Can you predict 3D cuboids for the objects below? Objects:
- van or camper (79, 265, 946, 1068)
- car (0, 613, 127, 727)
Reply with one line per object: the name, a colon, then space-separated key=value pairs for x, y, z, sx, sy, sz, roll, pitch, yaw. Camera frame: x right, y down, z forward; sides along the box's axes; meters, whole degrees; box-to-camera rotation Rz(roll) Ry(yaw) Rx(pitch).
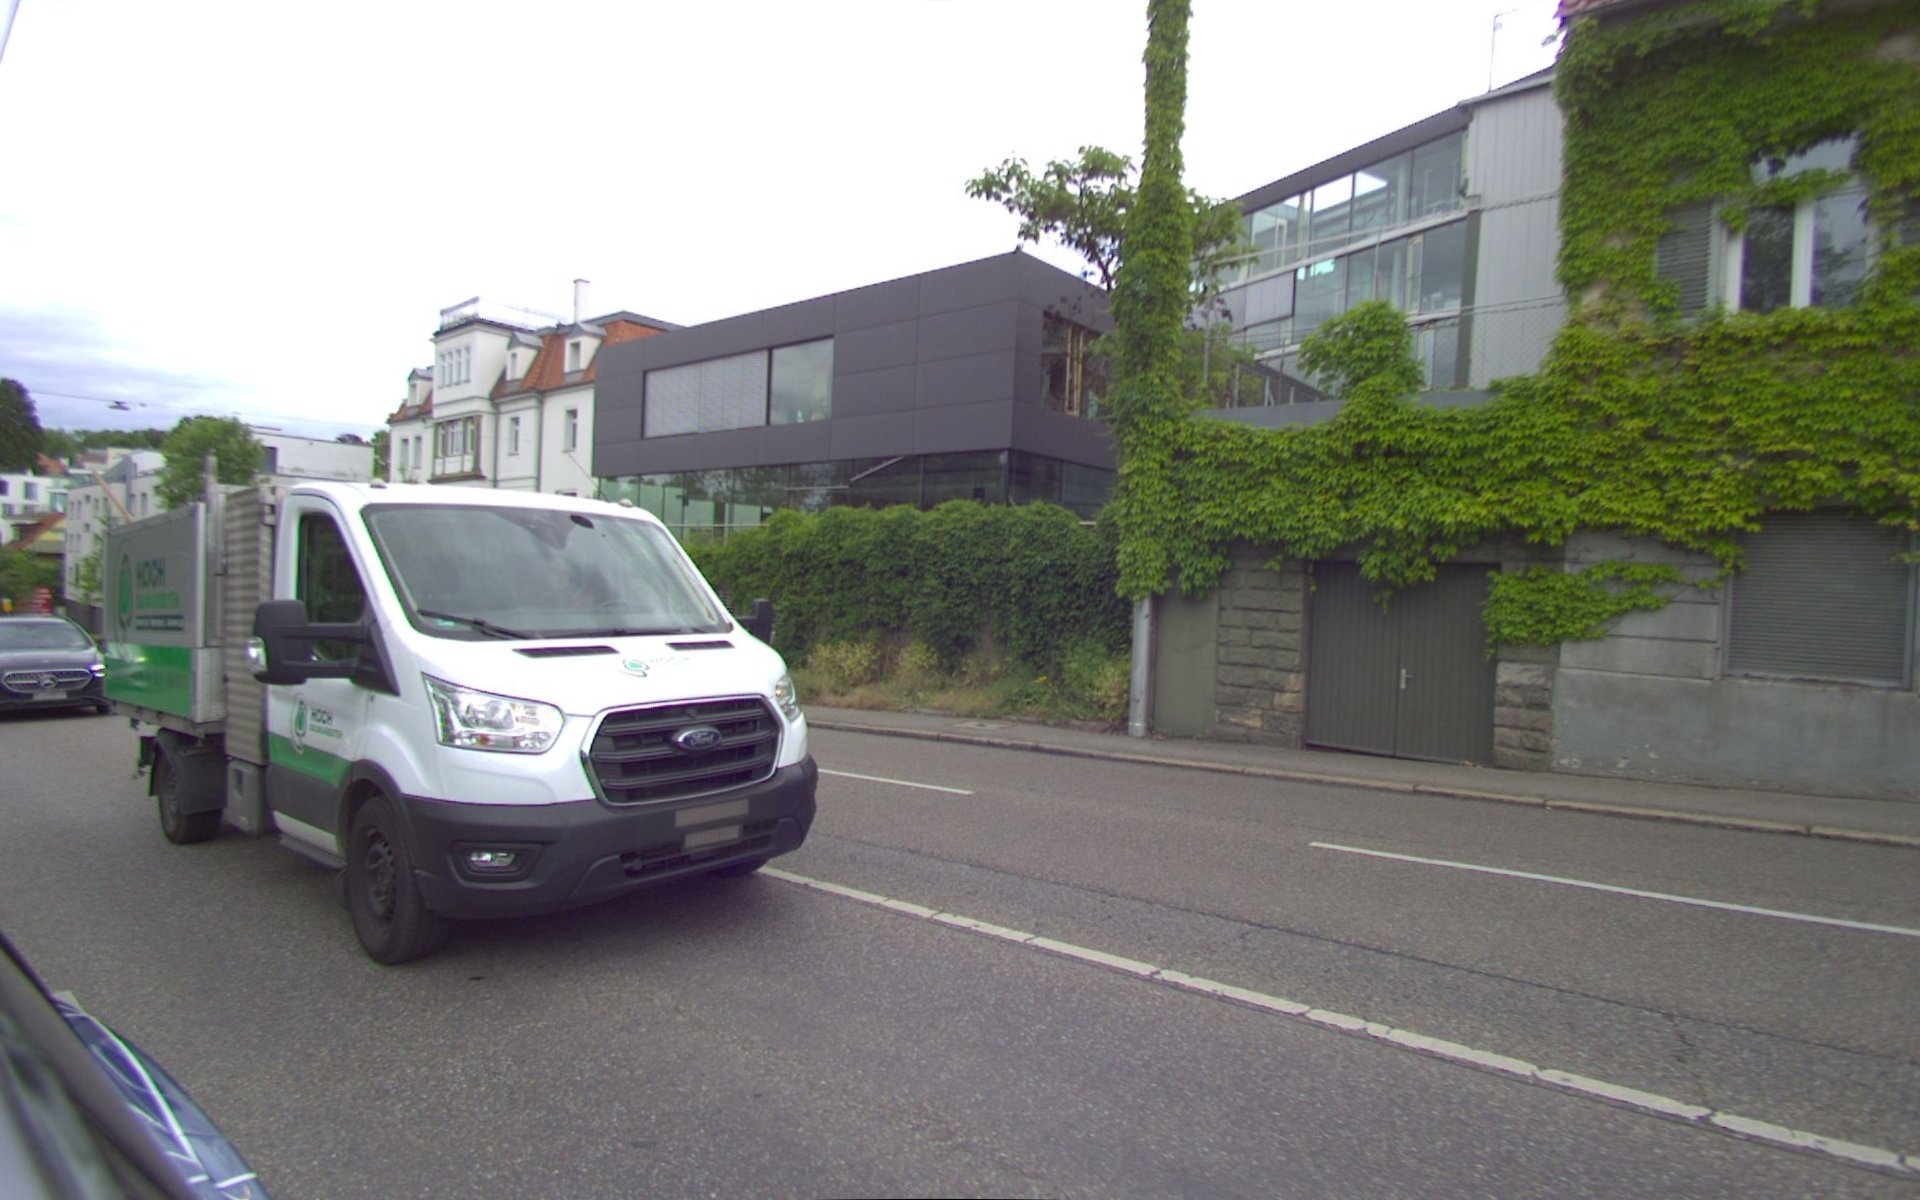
van or camper: x=-3.122 y=0.153 z=6.151 sx=5.958 sy=2.682 sz=2.321 roll=2 pitch=2 yaw=38
car: x=-14.388 y=0.989 z=15.489 sx=4.333 sy=1.541 sz=1.854 roll=-1 pitch=-1 yaw=41
